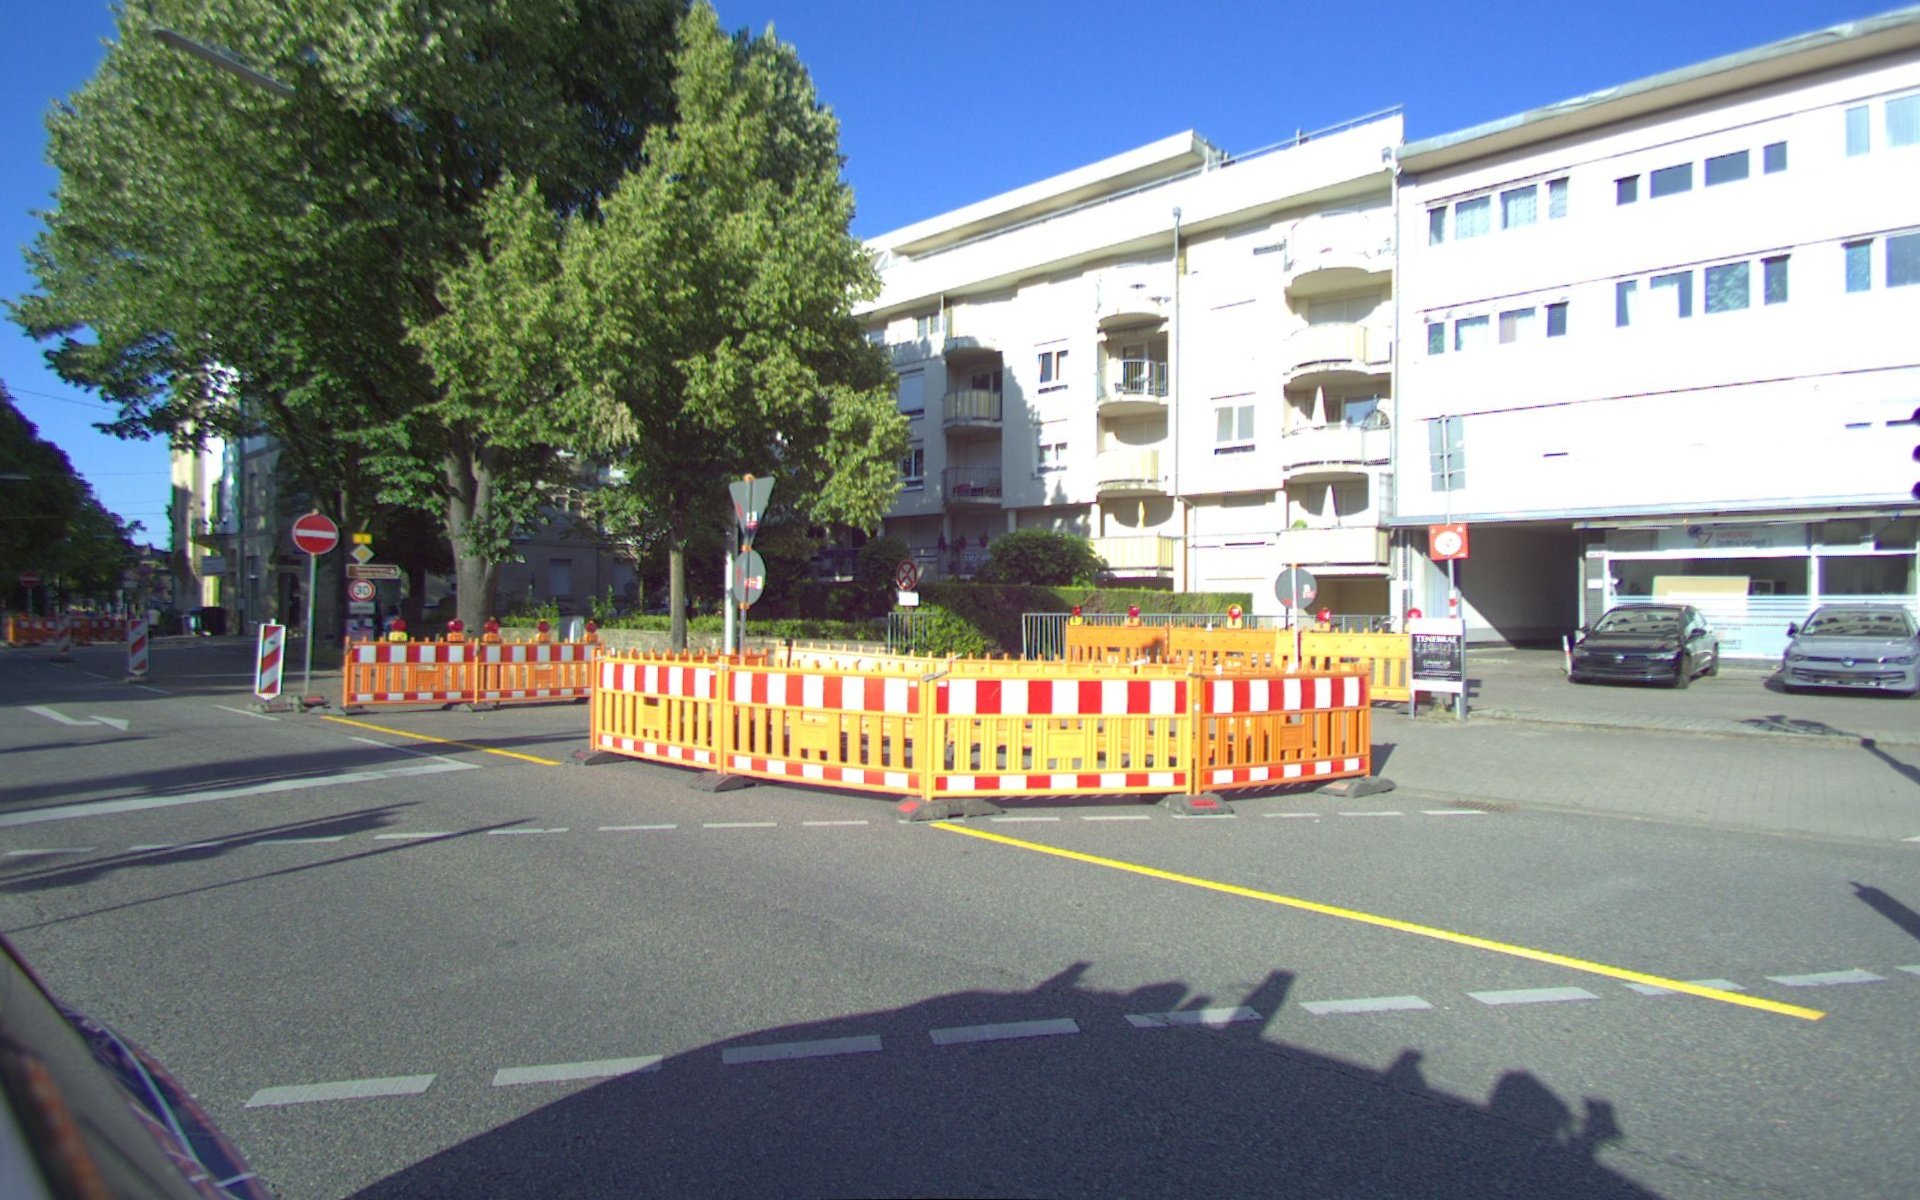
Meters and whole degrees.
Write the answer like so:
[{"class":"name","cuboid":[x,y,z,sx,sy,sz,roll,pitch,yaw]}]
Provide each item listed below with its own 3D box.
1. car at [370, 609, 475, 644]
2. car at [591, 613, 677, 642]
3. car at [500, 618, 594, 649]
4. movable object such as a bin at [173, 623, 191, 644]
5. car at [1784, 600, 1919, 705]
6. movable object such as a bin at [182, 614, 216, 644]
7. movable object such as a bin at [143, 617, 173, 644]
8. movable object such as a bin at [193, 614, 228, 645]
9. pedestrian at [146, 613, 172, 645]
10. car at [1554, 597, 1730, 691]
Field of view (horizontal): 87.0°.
[{"class":"car","cuboid":[-25.158,1.226,47.474,2.001,1.564,3.942,-1,-2,44]},{"class":"car","cuboid":[-17.493,1.492,54.440,2.001,1.497,3.942,-2,-2,44]},{"class":"car","cuboid":[-20.828,1.651,51.123,2.001,1.497,3.942,-1,-2,44]},{"class":"movable object such as a bin","cuboid":[-40.411,1.724,52.547,0.764,1.049,0.629,-2,0,45]},{"class":"car","cuboid":[15.555,0.801,17.186,2.001,1.521,4.264,-1,0,45]},{"class":"movable object such as a bin","cuboid":[-38.274,1.444,50.902,1.406,1.442,1.071,-1,0,40]},{"class":"movable object such as a bin","cuboid":[-44.129,1.669,55.723,1.067,1.442,1.411,-1,0,-30]},{"class":"movable object such as a bin","cuboid":[-36.970,1.444,49.932,1.344,1.442,1.071,-1,0,40]},{"class":"pedestrian","cuboid":[-41.261,1.488,52.118,0.915,1.615,0.813,-1,0,36]},{"class":"car","cuboid":[13.031,0.749,19.231,2.001,1.523,4.264,-1,0,45]}]
